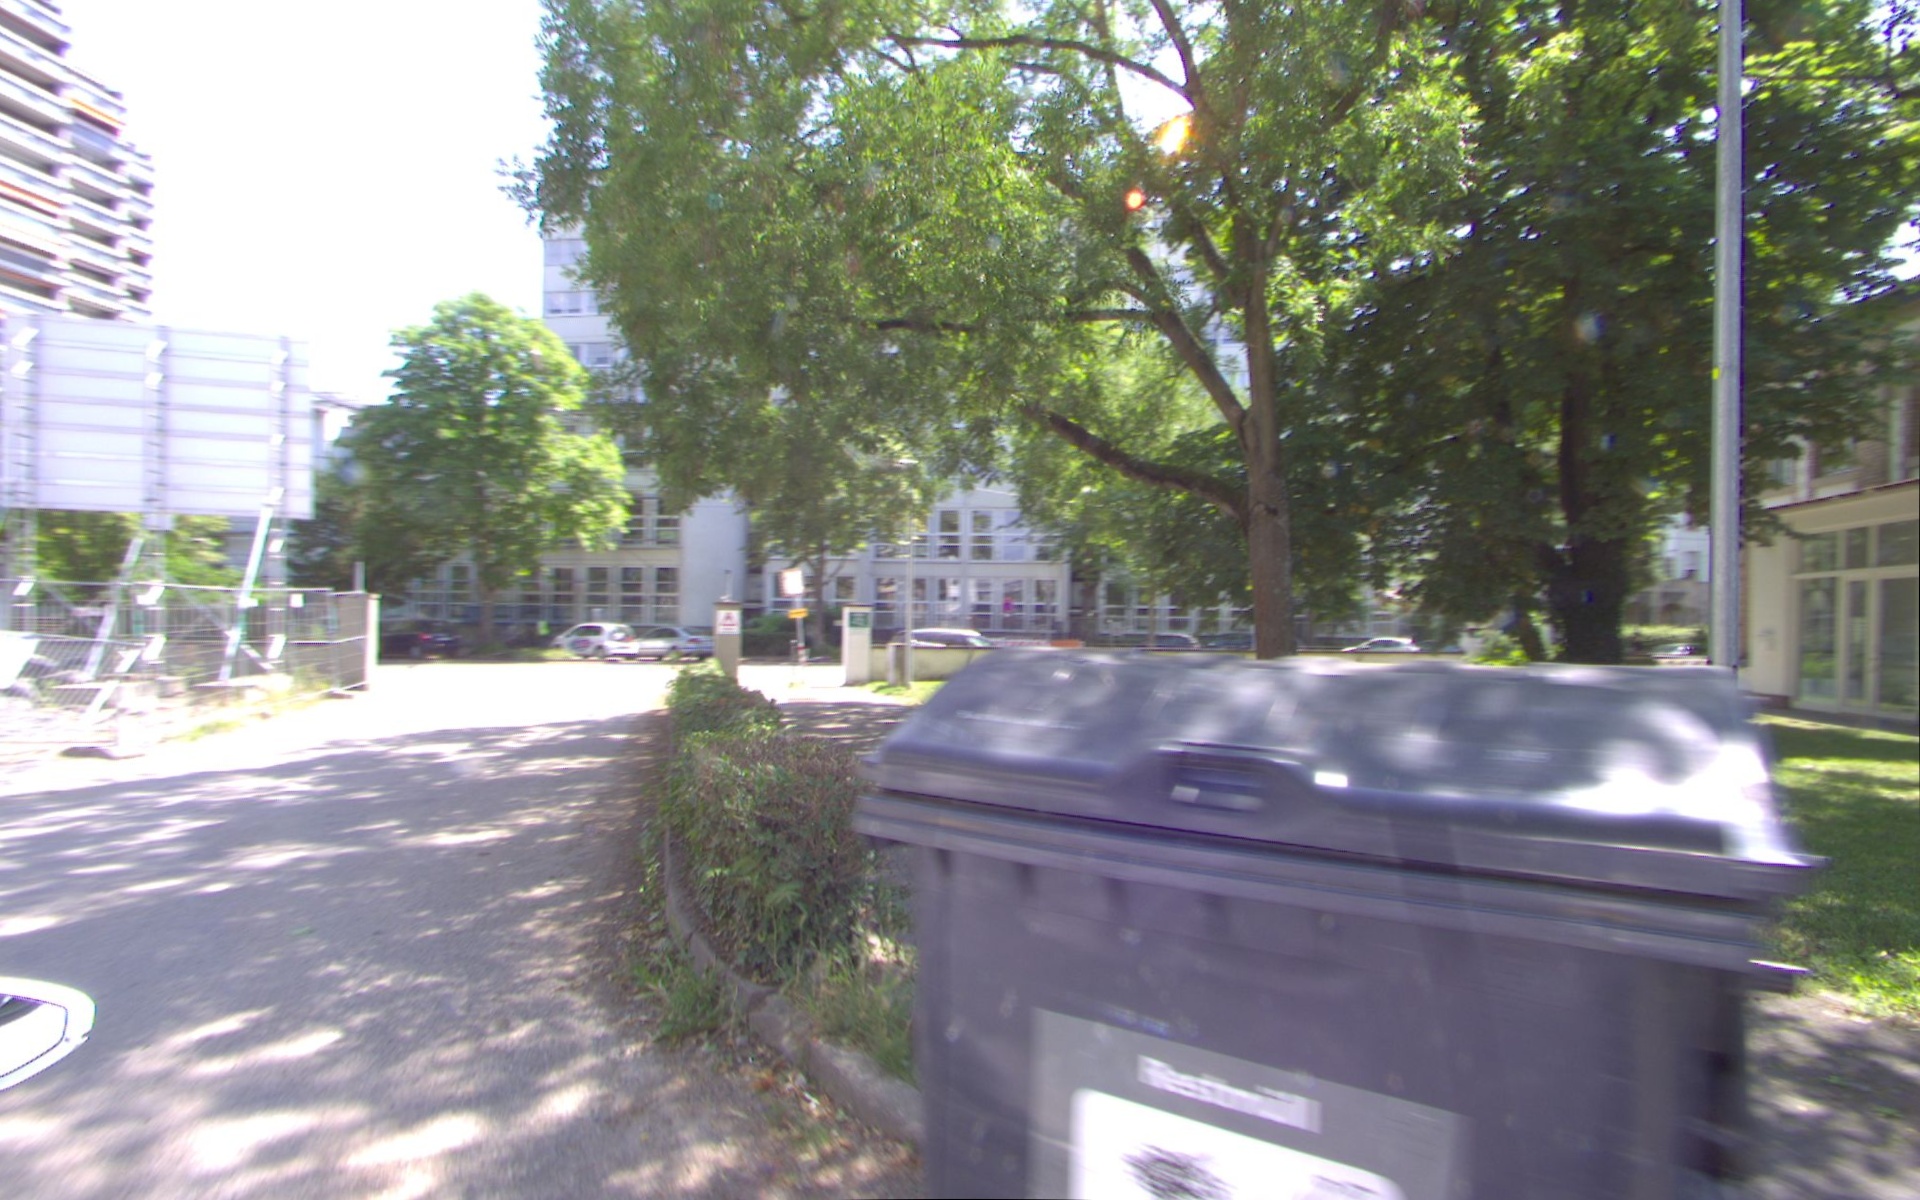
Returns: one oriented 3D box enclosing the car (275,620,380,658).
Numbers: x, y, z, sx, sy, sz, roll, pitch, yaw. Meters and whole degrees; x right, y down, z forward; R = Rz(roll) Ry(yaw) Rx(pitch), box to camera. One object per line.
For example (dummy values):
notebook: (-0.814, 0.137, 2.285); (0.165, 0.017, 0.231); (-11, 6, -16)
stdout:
car: (-23.719, 1.421, 37.523); (3.875, 1.327, 1.910); (0, -1, 33)

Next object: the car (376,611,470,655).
car: (-20.851, 1.249, 38.837); (3.886, 1.650, 2.001); (0, -1, 42)

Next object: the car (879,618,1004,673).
car: (-0.549, 1.283, 28.372); (3.274, 1.498, 1.430); (1, -1, -18)

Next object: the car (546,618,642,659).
car: (-14.925, 1.539, 40.809); (3.634, 1.610, 1.663); (0, -1, 27)

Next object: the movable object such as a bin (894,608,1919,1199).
movable object such as a bin: (0.694, 0.764, 1.569); (1.351, 1.477, 1.078); (0, -1, 12)

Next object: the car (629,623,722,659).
car: (-11.802, 1.670, 41.485); (3.656, 1.433, 1.662); (0, -1, 30)
